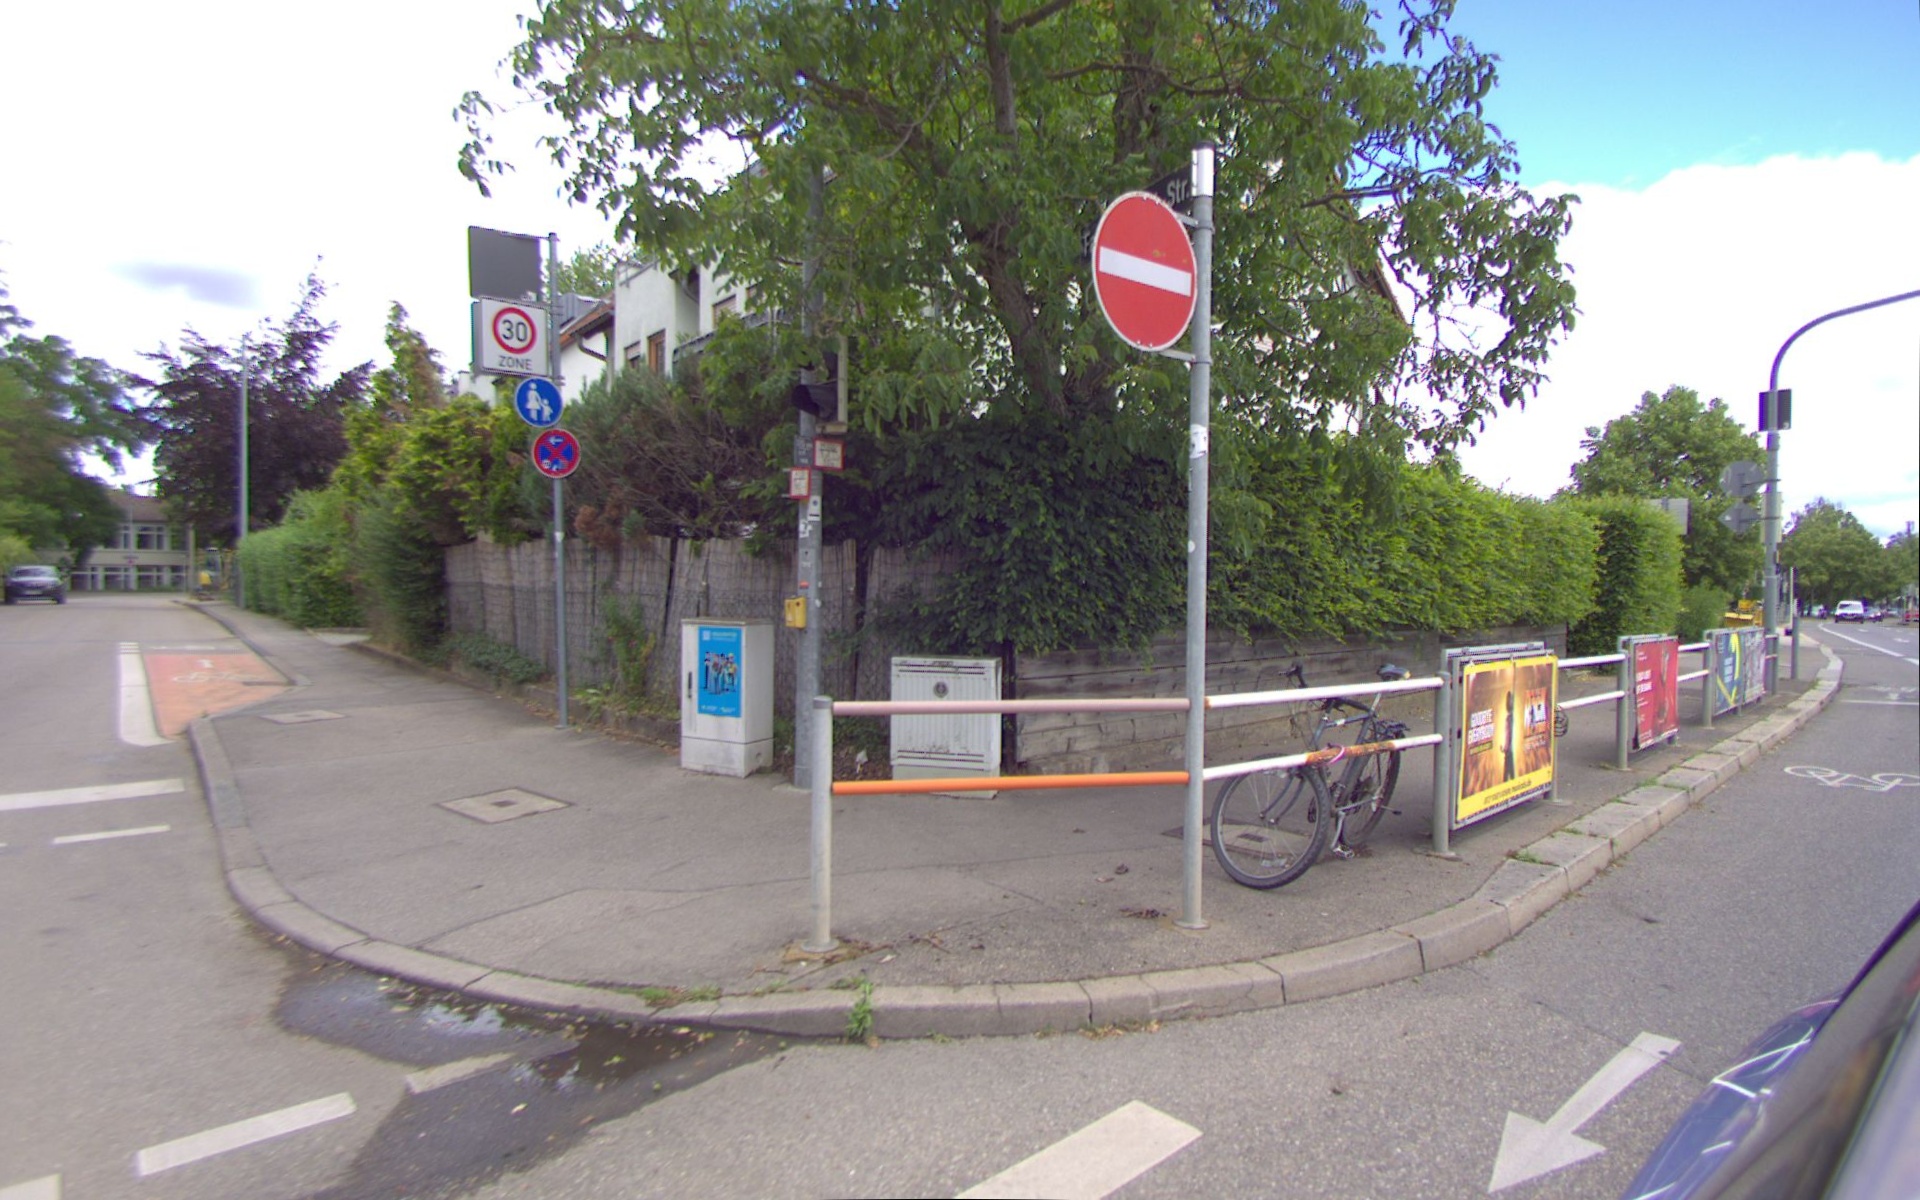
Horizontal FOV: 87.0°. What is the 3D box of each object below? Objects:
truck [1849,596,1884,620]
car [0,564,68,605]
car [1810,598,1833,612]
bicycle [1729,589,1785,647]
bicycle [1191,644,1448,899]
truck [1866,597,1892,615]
[{"bbox_3d":[73.023,0.634,81.490,3.930,1.813,1.614,1,1,-41],"label":"truck"},{"bbox_3d":[-38.443,-0.647,42.059,1.803,1.613,3.997,1,1,-38],"label":"car"},{"bbox_3d":[88.544,0.532,103.964,1.558,1.367,3.483,4,2,44],"label":"car"},{"bbox_3d":[23.039,0.508,29.226,0.892,1.528,2.738,7,4,44],"label":"bicycle"},{"bbox_3d":[1.872,0.783,5.166,1.478,1.041,0.628,0,0,-43],"label":"bicycle"},{"bbox_3d":[90.674,0.593,99.828,3.934,1.679,1.616,0,2,-44],"label":"truck"}]
